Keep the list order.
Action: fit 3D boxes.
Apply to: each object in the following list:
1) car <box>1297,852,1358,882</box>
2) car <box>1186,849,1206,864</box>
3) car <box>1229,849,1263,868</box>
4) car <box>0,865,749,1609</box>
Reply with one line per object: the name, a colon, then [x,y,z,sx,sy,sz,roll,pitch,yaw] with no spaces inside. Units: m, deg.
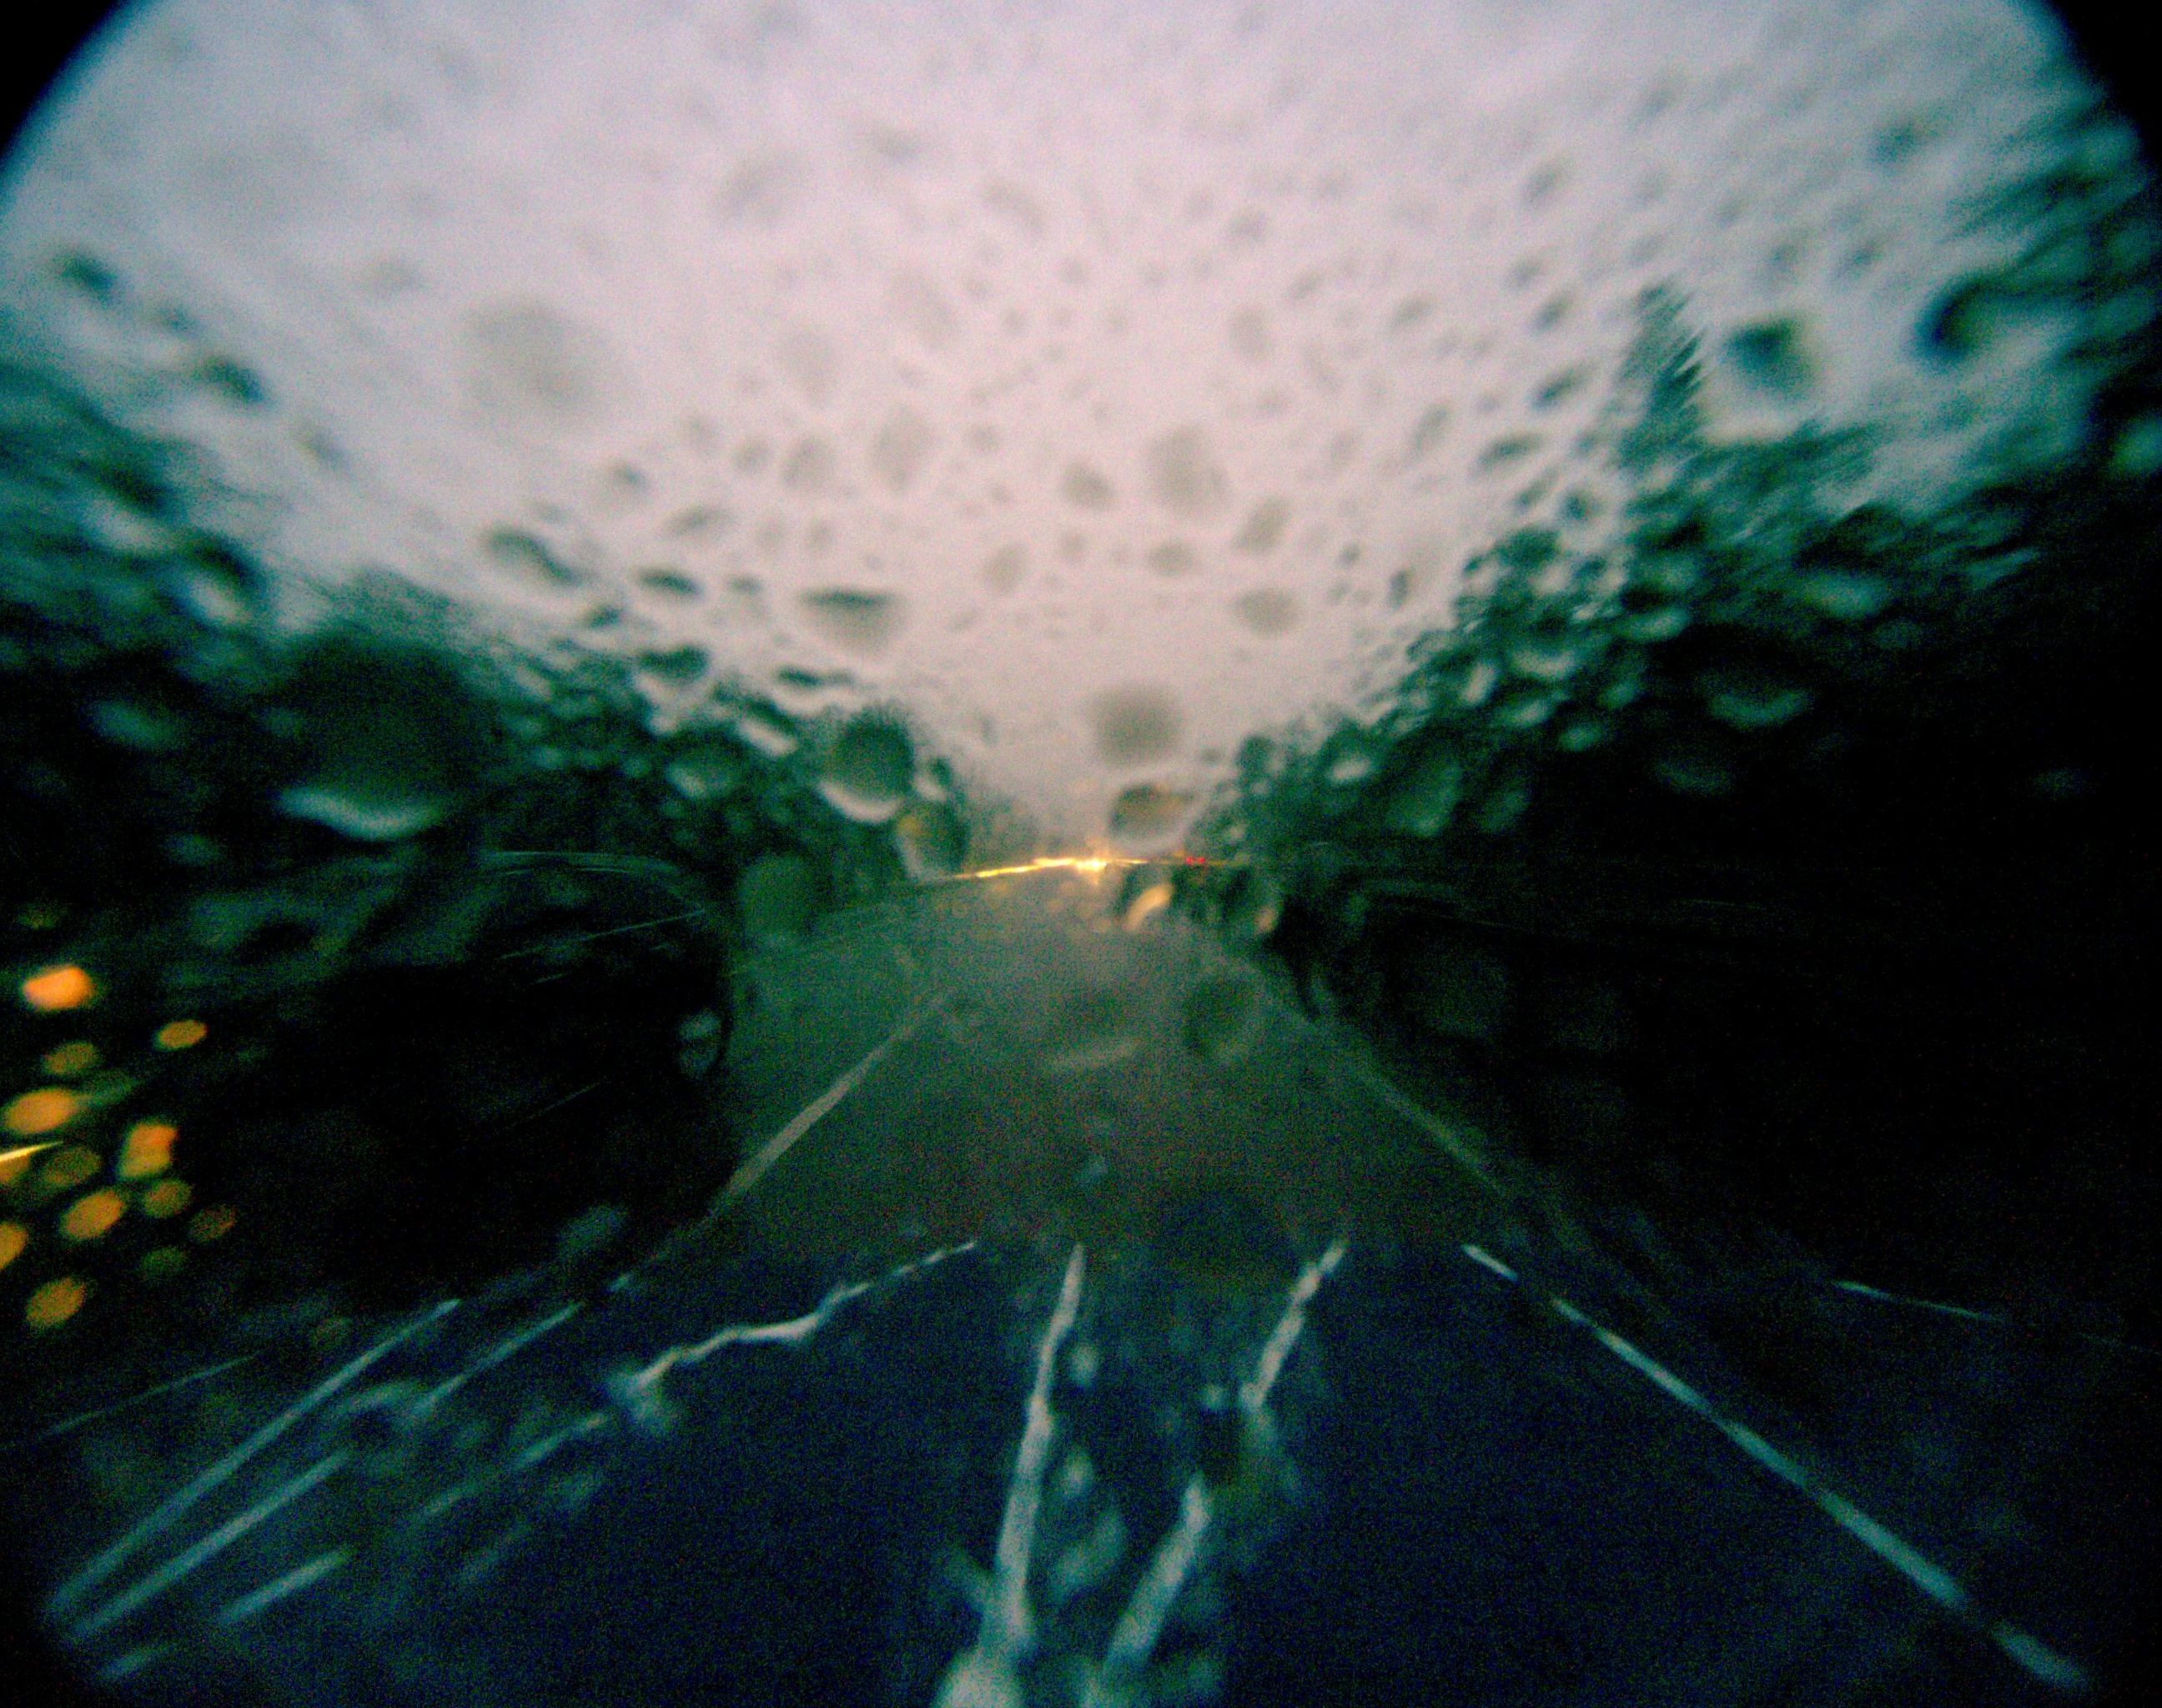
car: [12.193,0.608,37.844,1.680,1.381,3.981,-2,0,-1]
car: [13.822,0.306,91.878,1.817,1.681,4.000,-2,0,1]
car: [13.261,0.368,61.314,1.798,1.432,4.042,-2,0,-1]
car: [-3.601,0.964,3.563,2.075,1.688,4.461,-2,0,0]
